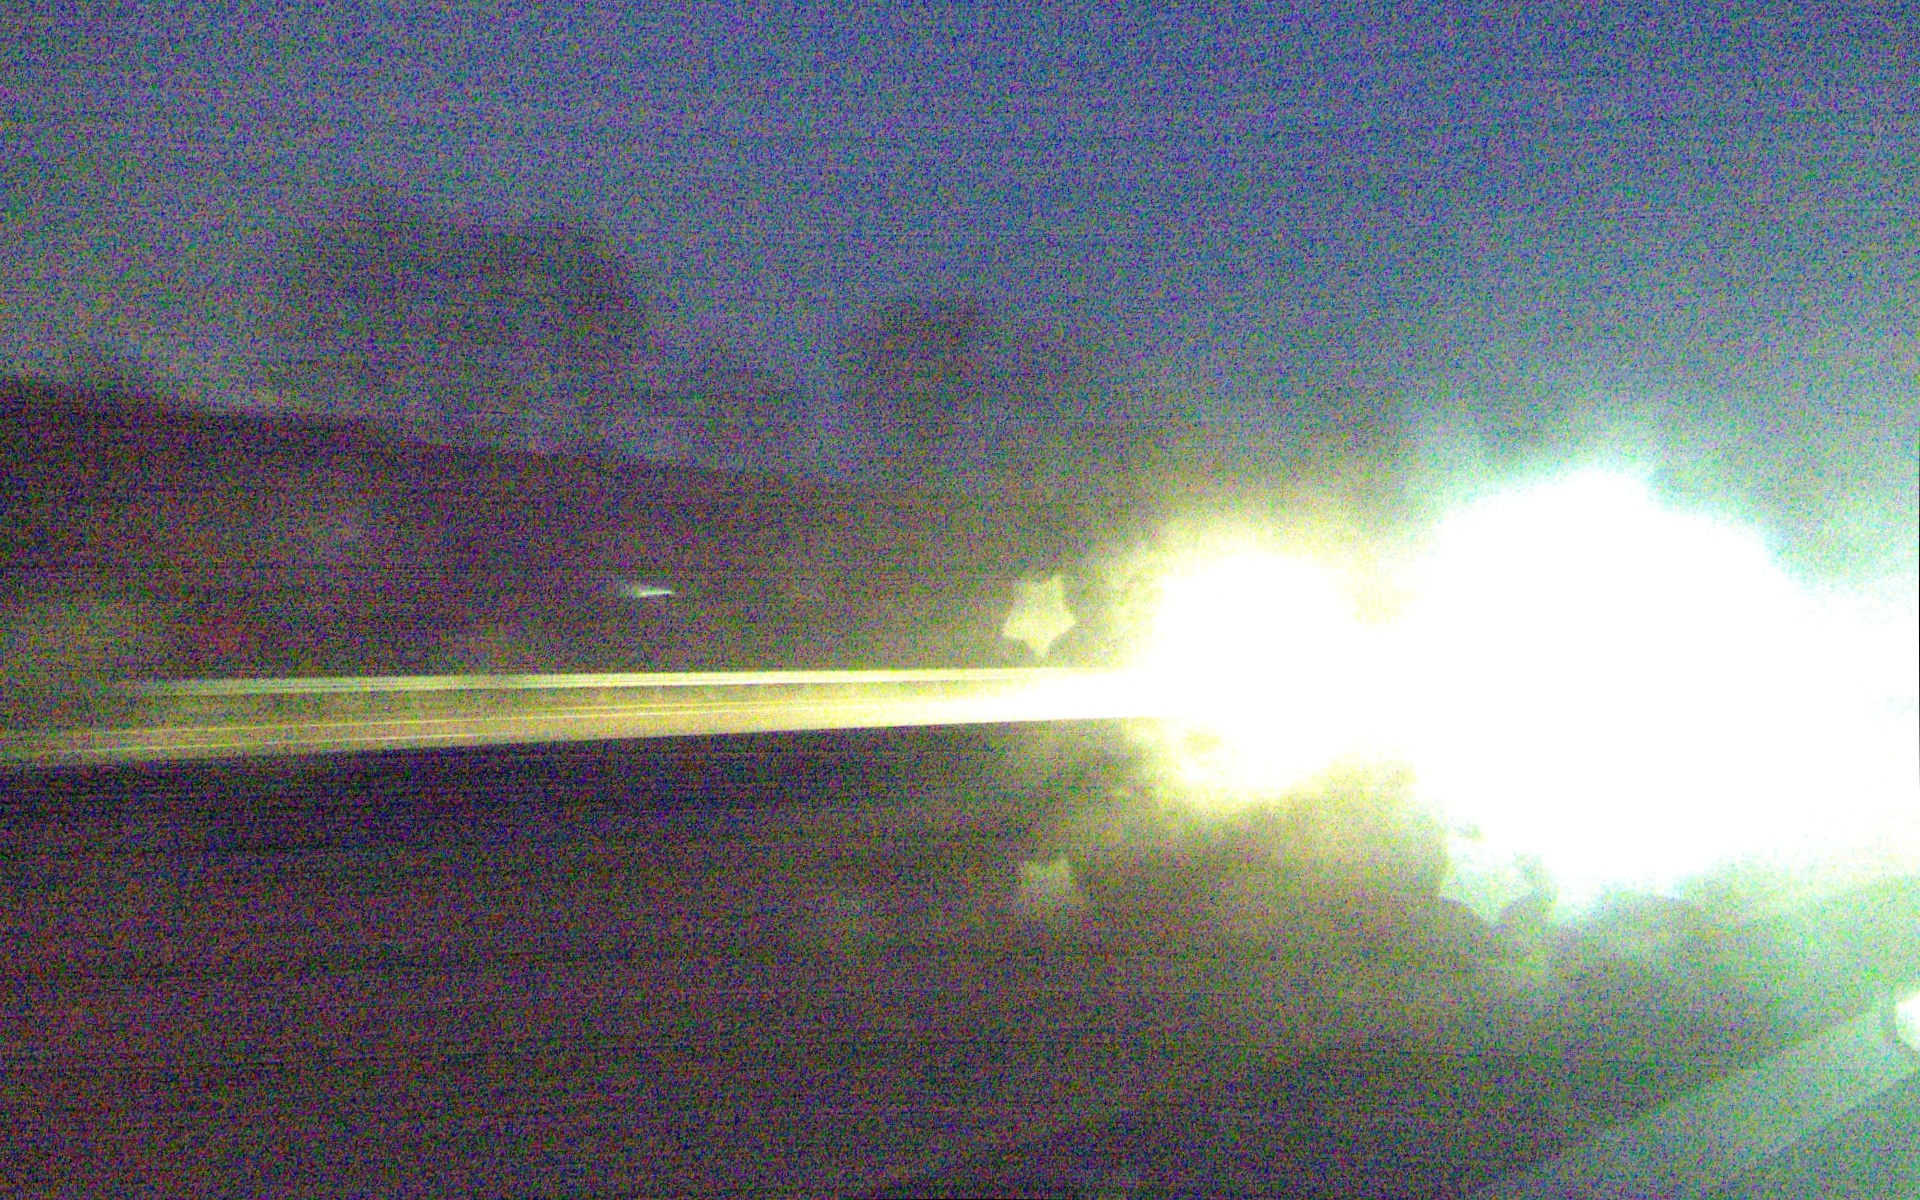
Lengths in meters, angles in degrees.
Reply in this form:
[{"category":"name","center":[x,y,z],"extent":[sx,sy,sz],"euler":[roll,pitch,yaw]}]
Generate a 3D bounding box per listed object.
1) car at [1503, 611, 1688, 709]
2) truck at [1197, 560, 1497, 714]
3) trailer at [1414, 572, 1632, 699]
[{"category":"car","center":[14.396,1.291,22.739],"extent":[3.954,2.040,1.984],"euler":[1,-2,-31]},{"category":"truck","center":[11.708,1.067,29.836],"extent":[10.099,3.959,2.852],"euler":[1,-1,-32]},{"category":"trailer","center":[19.650,1.209,34.864],"extent":[8.609,3.952,2.841],"euler":[1,-1,-32]}]
